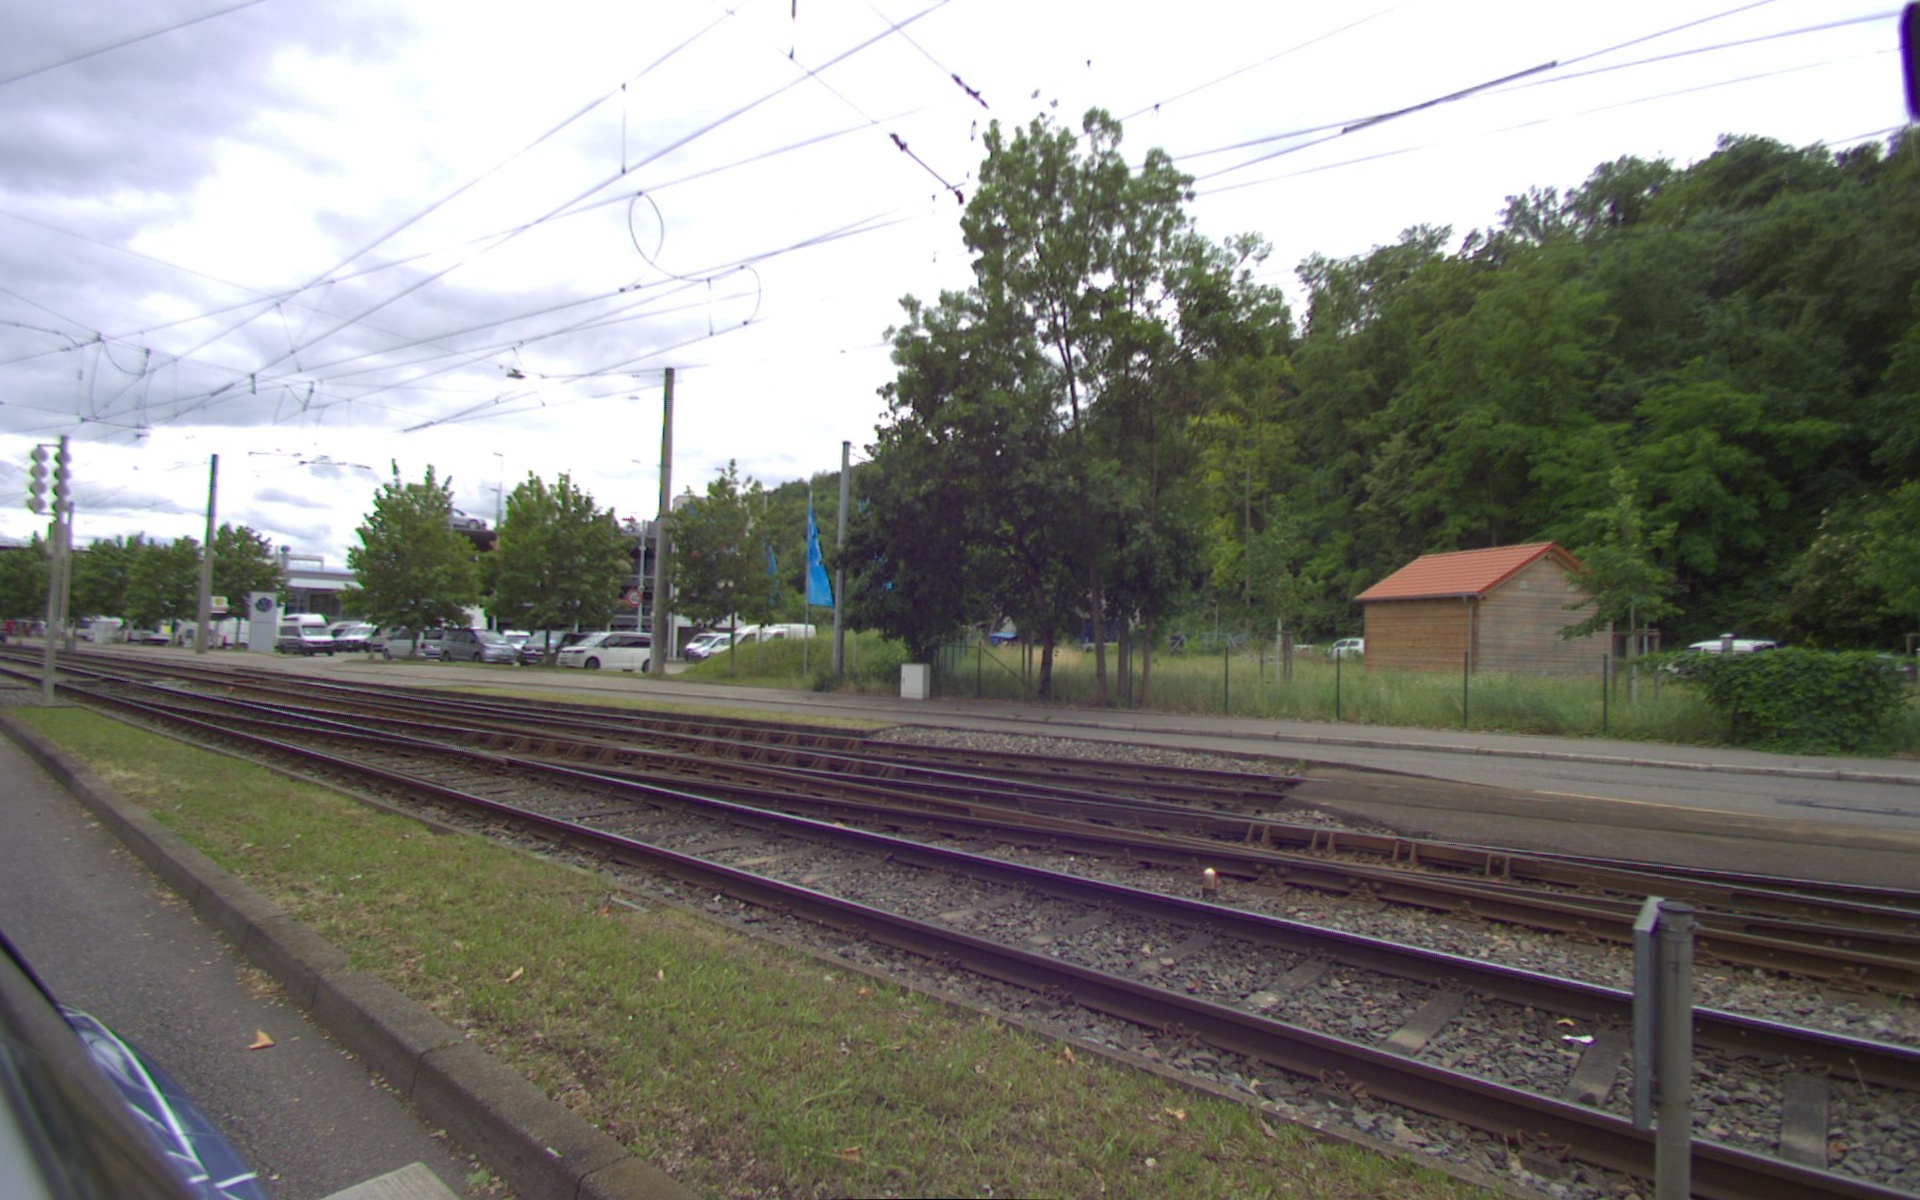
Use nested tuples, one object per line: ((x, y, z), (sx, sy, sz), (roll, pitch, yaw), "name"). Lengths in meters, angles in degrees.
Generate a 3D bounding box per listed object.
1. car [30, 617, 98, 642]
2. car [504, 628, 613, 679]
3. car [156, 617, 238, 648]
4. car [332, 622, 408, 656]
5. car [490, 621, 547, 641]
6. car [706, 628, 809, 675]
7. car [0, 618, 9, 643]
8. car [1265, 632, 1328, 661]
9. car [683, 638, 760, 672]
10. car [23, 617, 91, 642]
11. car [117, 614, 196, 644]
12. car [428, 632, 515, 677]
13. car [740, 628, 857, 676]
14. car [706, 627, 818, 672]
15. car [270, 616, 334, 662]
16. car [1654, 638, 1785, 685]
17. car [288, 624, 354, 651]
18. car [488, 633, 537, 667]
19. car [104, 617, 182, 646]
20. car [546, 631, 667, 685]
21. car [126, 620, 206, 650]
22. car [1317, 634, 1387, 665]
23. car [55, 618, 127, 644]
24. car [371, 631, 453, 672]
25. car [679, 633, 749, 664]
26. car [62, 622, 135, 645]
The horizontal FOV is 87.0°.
((-86.135, 2.833, 97.330), (2.103, 2.225, 4.586), (0, 0, 34), "car")
((-19.874, 2.575, 50.227), (1.978, 2.284, 4.714), (-1, 0, 39), "car")
((-58.084, 2.419, 77.115), (2.103, 2.225, 4.586), (0, 0, 34), "car")
((-49.167, 3.194, 84.558), (2.294, 2.642, 6.033), (0, 0, 8), "car")
((-44.192, 3.101, 101.289), (5.138, 1.850, 1.987), (0, 0, -27), "car")
((-11.874, 2.968, 59.430), (5.567, 2.479, 1.986), (0, 0, -29), "car")
((-70.652, 2.088, 73.245), (4.131, 1.730, 1.882), (1, -7, 38), "car")
((21.033, 2.872, 63.378), (1.727, 1.625, 3.693), (0, 0, -23), "car")
((-14.457, 3.302, 61.257), (4.164, 1.850, 1.986), (0, 0, -29), "car")
((-88.118, 2.848, 98.766), (2.103, 2.225, 4.586), (0, 0, 34), "car")
((-64.469, 2.297, 81.270), (2.103, 2.225, 4.586), (0, 0, 34), "car")
((-25.635, 2.788, 53.044), (4.766, 2.132, 2.117), (0, 0, 35), "car")
((-8.467, 2.678, 53.186), (5.761, 2.284, 2.060), (0, 0, -26), "car")
((-10.947, 2.700, 56.055), (5.751, 2.284, 2.060), (0, 0, -26), "car")
((-46.445, 2.678, 71.391), (6.157, 3.034, 2.289), (0, 0, 42), "car")
((30.067, 2.393, 40.176), (1.877, 1.625, 3.693), (0, 0, -21), "car")
((-56.407, 3.313, 89.404), (2.108, 2.225, 4.576), (-1, 0, 41), "car")
((-28.007, 3.068, 63.228), (1.872, 1.907, 4.607), (0, 0, -36), "car")
((-66.805, 2.512, 82.824), (2.103, 2.225, 4.586), (0, 0, 34), "car")
((-16.754, 2.705, 48.195), (1.998, 2.284, 5.203), (-1, 0, 39), "car")
((-62.534, 2.734, 79.761), (2.103, 2.225, 4.586), (0, 0, 34), "car")
((22.924, 2.849, 59.249), (1.727, 1.625, 3.693), (0, 0, -23), "car")
((-78.223, 2.772, 91.178), (2.103, 2.225, 4.586), (0, 0, 34), "car")
((-30.736, 2.840, 56.703), (4.763, 2.132, 2.118), (0, 0, 34), "car")
((-16.345, 3.206, 67.277), (4.164, 1.850, 1.986), (0, 0, -29), "car")
((-76.319, 2.943, 89.704), (2.103, 1.854, 4.586), (0, 0, 34), "car")
